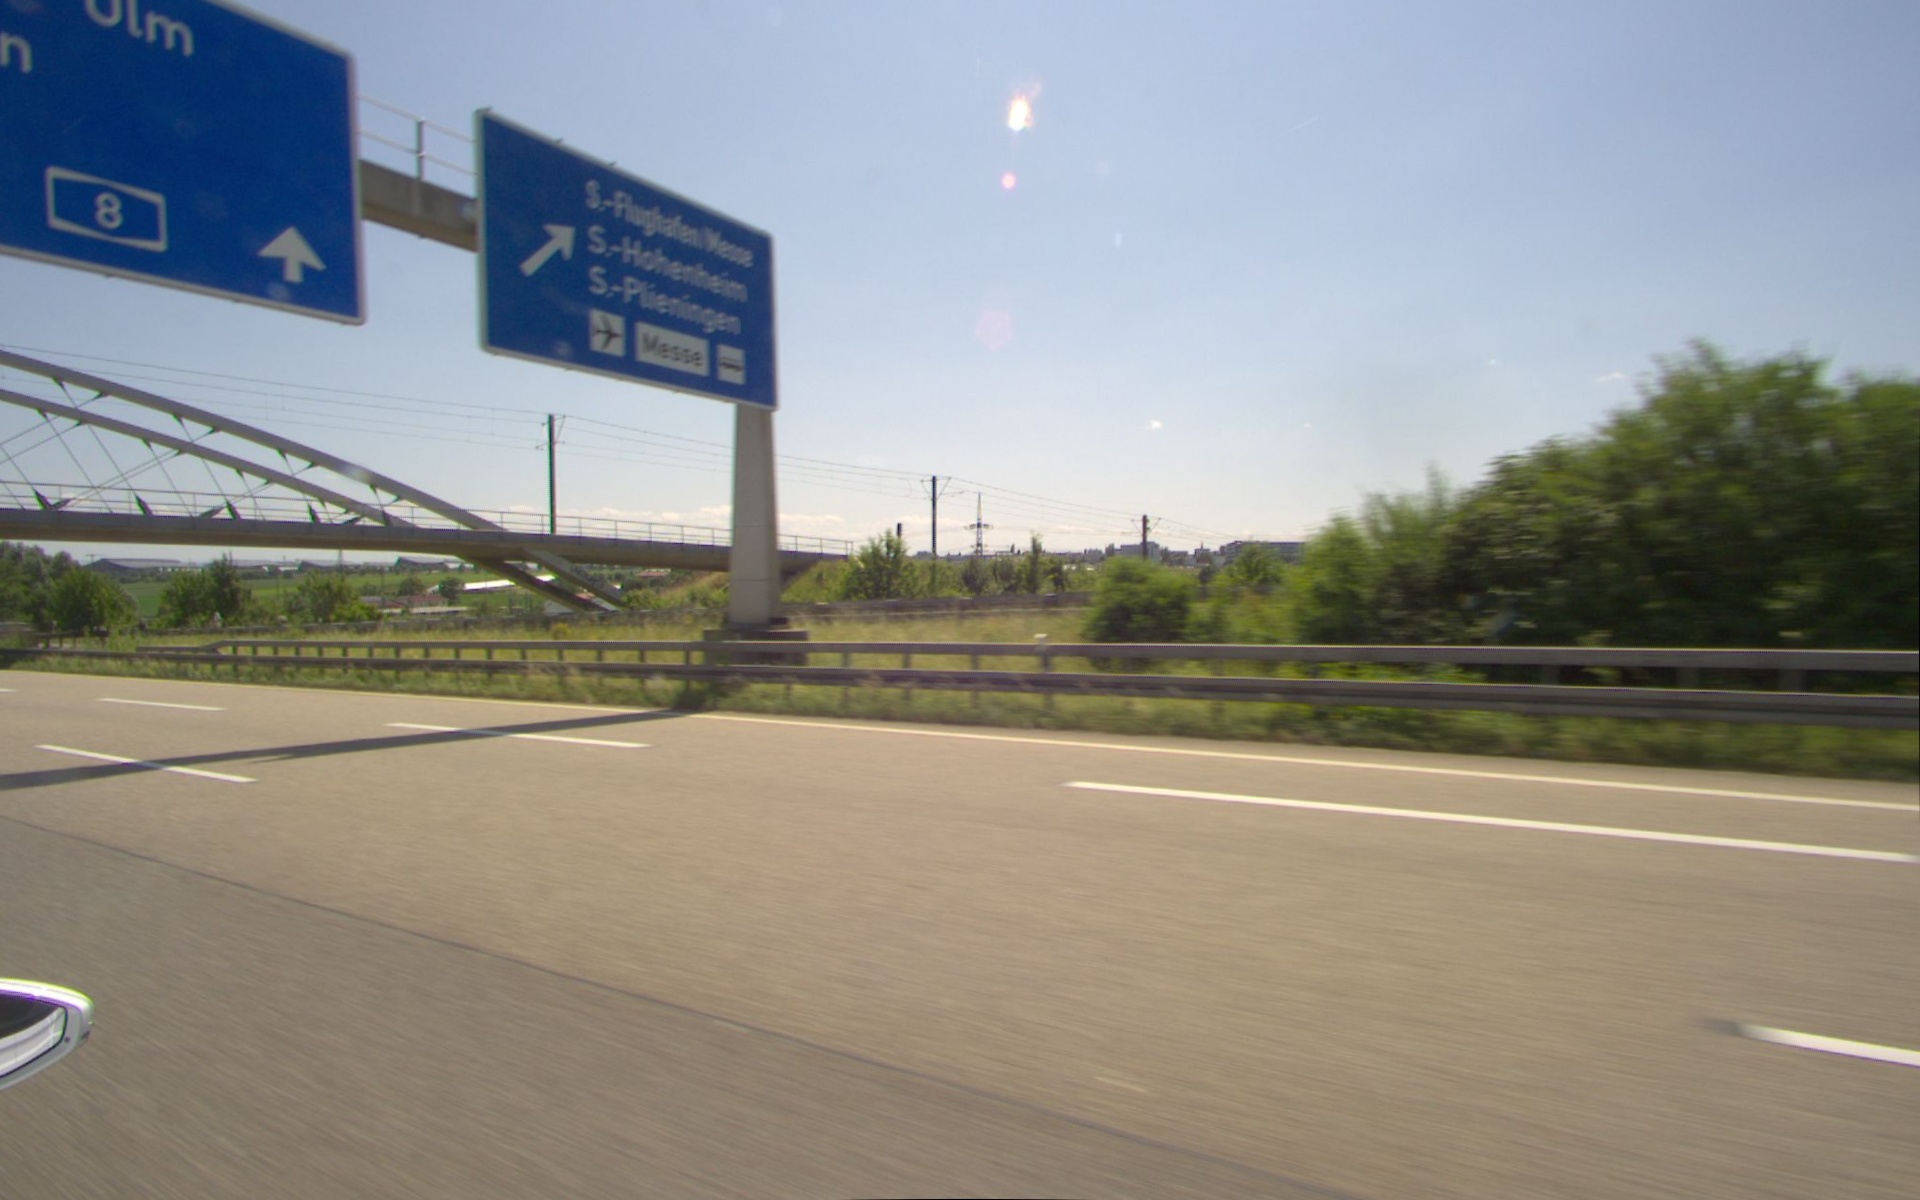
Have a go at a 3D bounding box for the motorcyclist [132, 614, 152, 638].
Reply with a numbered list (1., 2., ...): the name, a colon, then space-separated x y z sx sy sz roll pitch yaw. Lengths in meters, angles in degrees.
1. motorcyclist: -46.711 1.496 57.190 0.866 1.384 0.667 -1 -1 33

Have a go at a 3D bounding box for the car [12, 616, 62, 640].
1. car: -63.519 1.923 68.897 4.072 1.595 1.695 -1 -2 34

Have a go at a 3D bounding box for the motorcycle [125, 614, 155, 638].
1. motorcycle: -46.829 1.490 57.175 1.843 1.384 0.759 -1 -1 32
